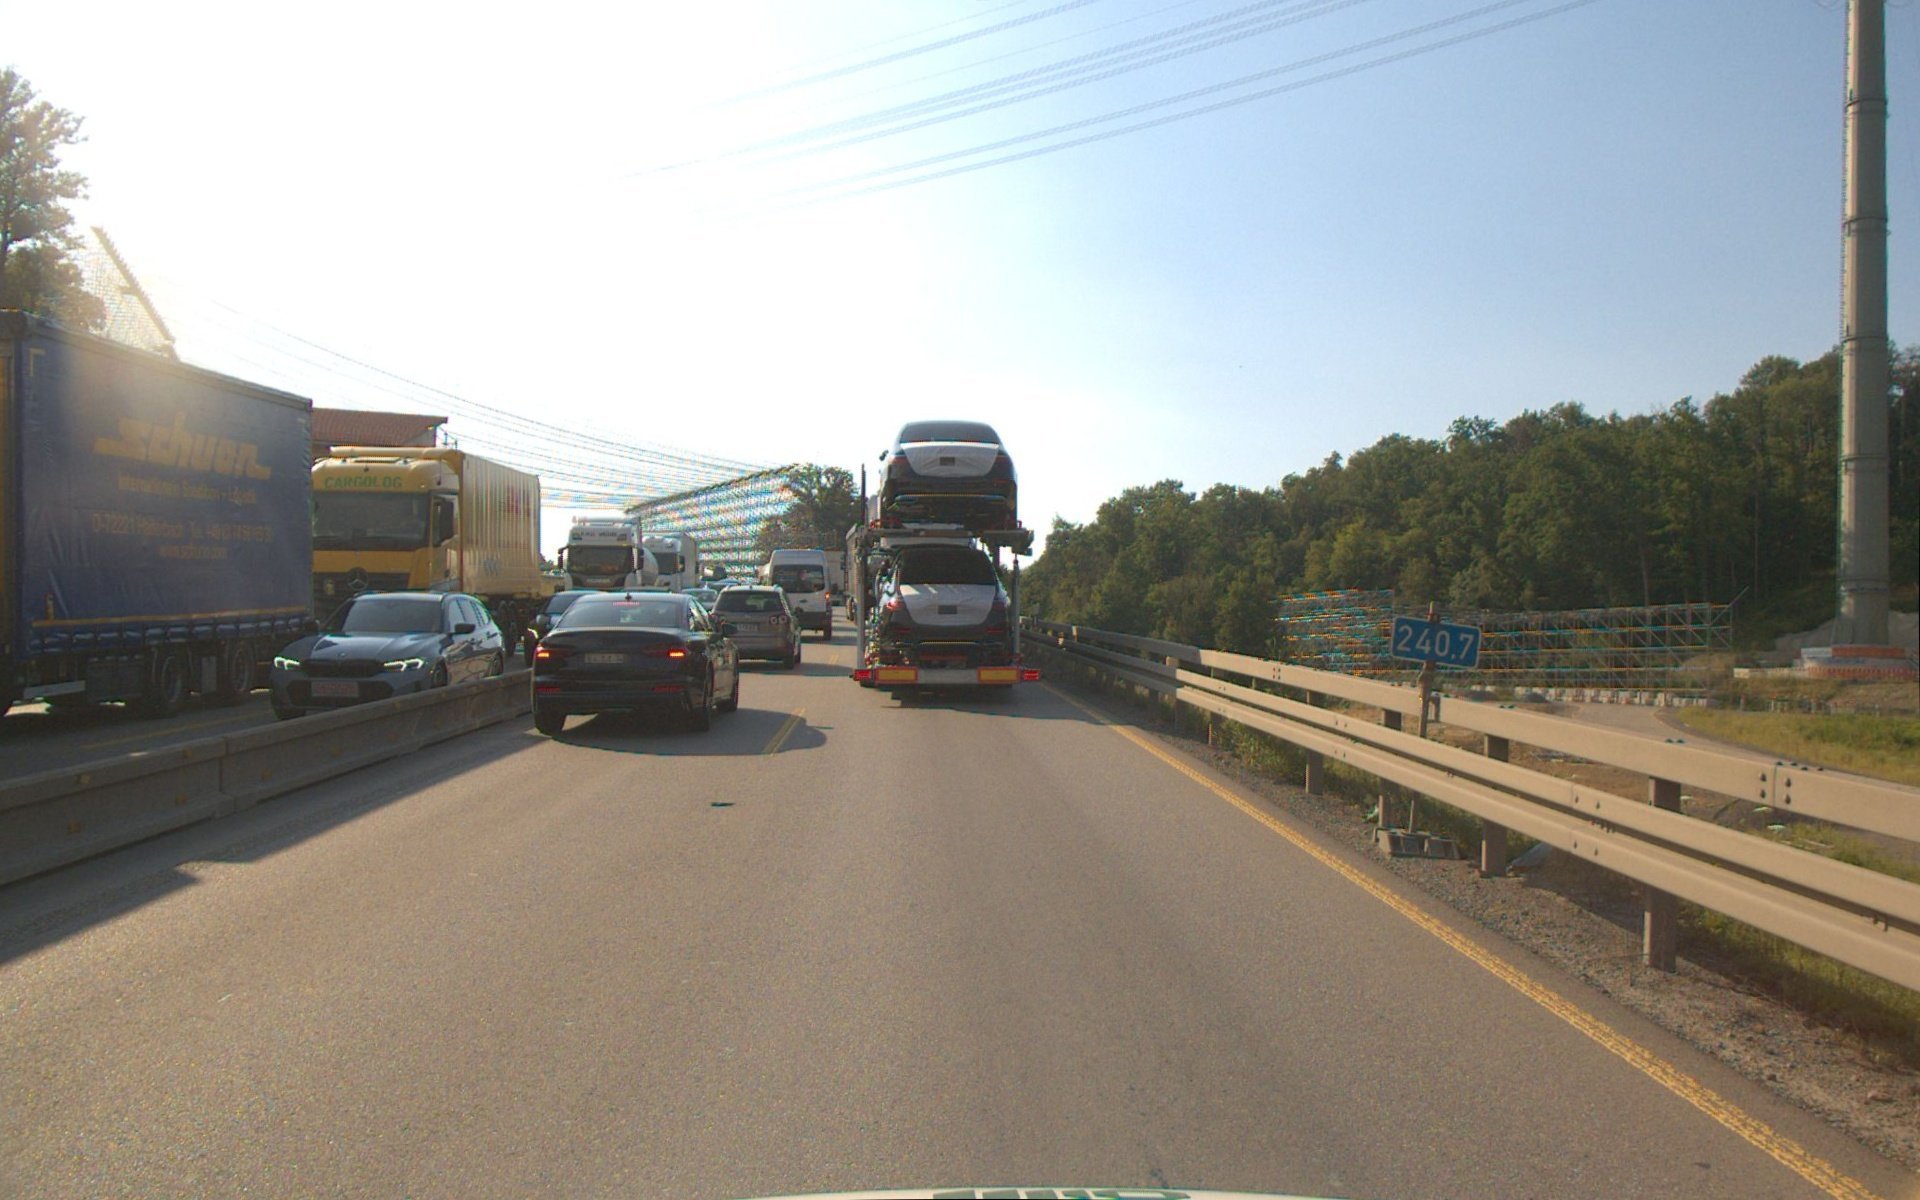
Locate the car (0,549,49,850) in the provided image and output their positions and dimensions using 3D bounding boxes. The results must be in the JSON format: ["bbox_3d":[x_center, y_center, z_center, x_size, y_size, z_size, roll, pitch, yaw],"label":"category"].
[{"bbox_3d":[-6.402,0.562,7.660,1.888,1.731,4.689,-1,-1,-2],"label":"car"}]

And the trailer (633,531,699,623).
[{"bbox_3d":[-14.908,-1.026,84.550,2.406,4.340,12.129,0,-1,-6],"label":"trailer"}]

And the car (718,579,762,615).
[{"bbox_3d":[-10.664,-0.125,80.552,1.809,1.676,4.556,-1,0,-4],"label":"car"}]

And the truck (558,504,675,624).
[{"bbox_3d":[-12.837,-1.145,63.045,2.754,4.039,13.876,1,-1,-5],"label":"truck"}]

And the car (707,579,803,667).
[{"bbox_3d":[-4.016,0.453,32.876,1.667,1.615,4.143,-1,-1,-4],"label":"car"}]

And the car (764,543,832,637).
[{"bbox_3d":[-4.909,-0.274,50.492,1.940,2.731,4.142,0,-1,-5],"label":"car"}]

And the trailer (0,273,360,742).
[{"bbox_3d":[-9.983,-0.803,16.247,2.660,4.207,16.744,-1,-1,-2],"label":"trailer"}]

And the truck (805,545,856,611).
[{"bbox_3d":[-9.711,-1.689,125.267,3.576,4.758,11.688,0,1,-3],"label":"truck"}]

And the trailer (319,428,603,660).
[{"bbox_3d":[-10.968,-0.963,38.644,2.647,4.277,15.985,0,-1,-3],"label":"trailer"}]

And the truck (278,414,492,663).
[{"bbox_3d":[-10.507,-1.045,30.662,2.640,4.270,4.394,0,-1,-4],"label":"truck"}]

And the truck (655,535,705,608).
[{"bbox_3d":[-17.194,-1.705,101.889,2.839,4.346,5.761,0,-1,-8],"label":"truck"}]

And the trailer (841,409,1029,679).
[{"bbox_3d":[-0.814,-0.782,32.623,2.817,4.064,15.268,0,-1,-3],"label":"trailer"}]

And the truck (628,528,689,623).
[{"bbox_3d":[-14.380,-1.083,79.227,2.397,4.346,6.313,0,-1,-6],"label":"truck"}]

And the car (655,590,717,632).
[{"bbox_3d":[-9.785,0.414,59.361,1.705,1.426,4.899,-1,-1,-4],"label":"car"}]

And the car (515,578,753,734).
[{"bbox_3d":[-3.549,0.563,18.963,1.901,1.506,5.219,-1,0,-3],"label":"car"}]

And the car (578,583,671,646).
[{"bbox_3d":[-8.551,0.377,42.458,1.682,1.534,4.289,-1,-1,-3],"label":"car"}]

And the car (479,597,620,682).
[{"bbox_3d":[-7.741,0.720,31.576,1.761,1.478,4.613,-1,-1,-3],"label":"car"}]

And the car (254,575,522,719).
[{"bbox_3d":[-6.769,0.527,20.124,1.752,1.524,4.722,-1,-1,-2],"label":"car"}]

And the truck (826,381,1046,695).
[{"bbox_3d":[-0.308,-0.781,24.312,2.811,4.049,5.771,-1,-1,0],"label":"truck"}]

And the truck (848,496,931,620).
[{"bbox_3d":[-3.035,-1.713,69.295,3.164,4.758,11.688,0,1,-3],"label":"truck"}]
